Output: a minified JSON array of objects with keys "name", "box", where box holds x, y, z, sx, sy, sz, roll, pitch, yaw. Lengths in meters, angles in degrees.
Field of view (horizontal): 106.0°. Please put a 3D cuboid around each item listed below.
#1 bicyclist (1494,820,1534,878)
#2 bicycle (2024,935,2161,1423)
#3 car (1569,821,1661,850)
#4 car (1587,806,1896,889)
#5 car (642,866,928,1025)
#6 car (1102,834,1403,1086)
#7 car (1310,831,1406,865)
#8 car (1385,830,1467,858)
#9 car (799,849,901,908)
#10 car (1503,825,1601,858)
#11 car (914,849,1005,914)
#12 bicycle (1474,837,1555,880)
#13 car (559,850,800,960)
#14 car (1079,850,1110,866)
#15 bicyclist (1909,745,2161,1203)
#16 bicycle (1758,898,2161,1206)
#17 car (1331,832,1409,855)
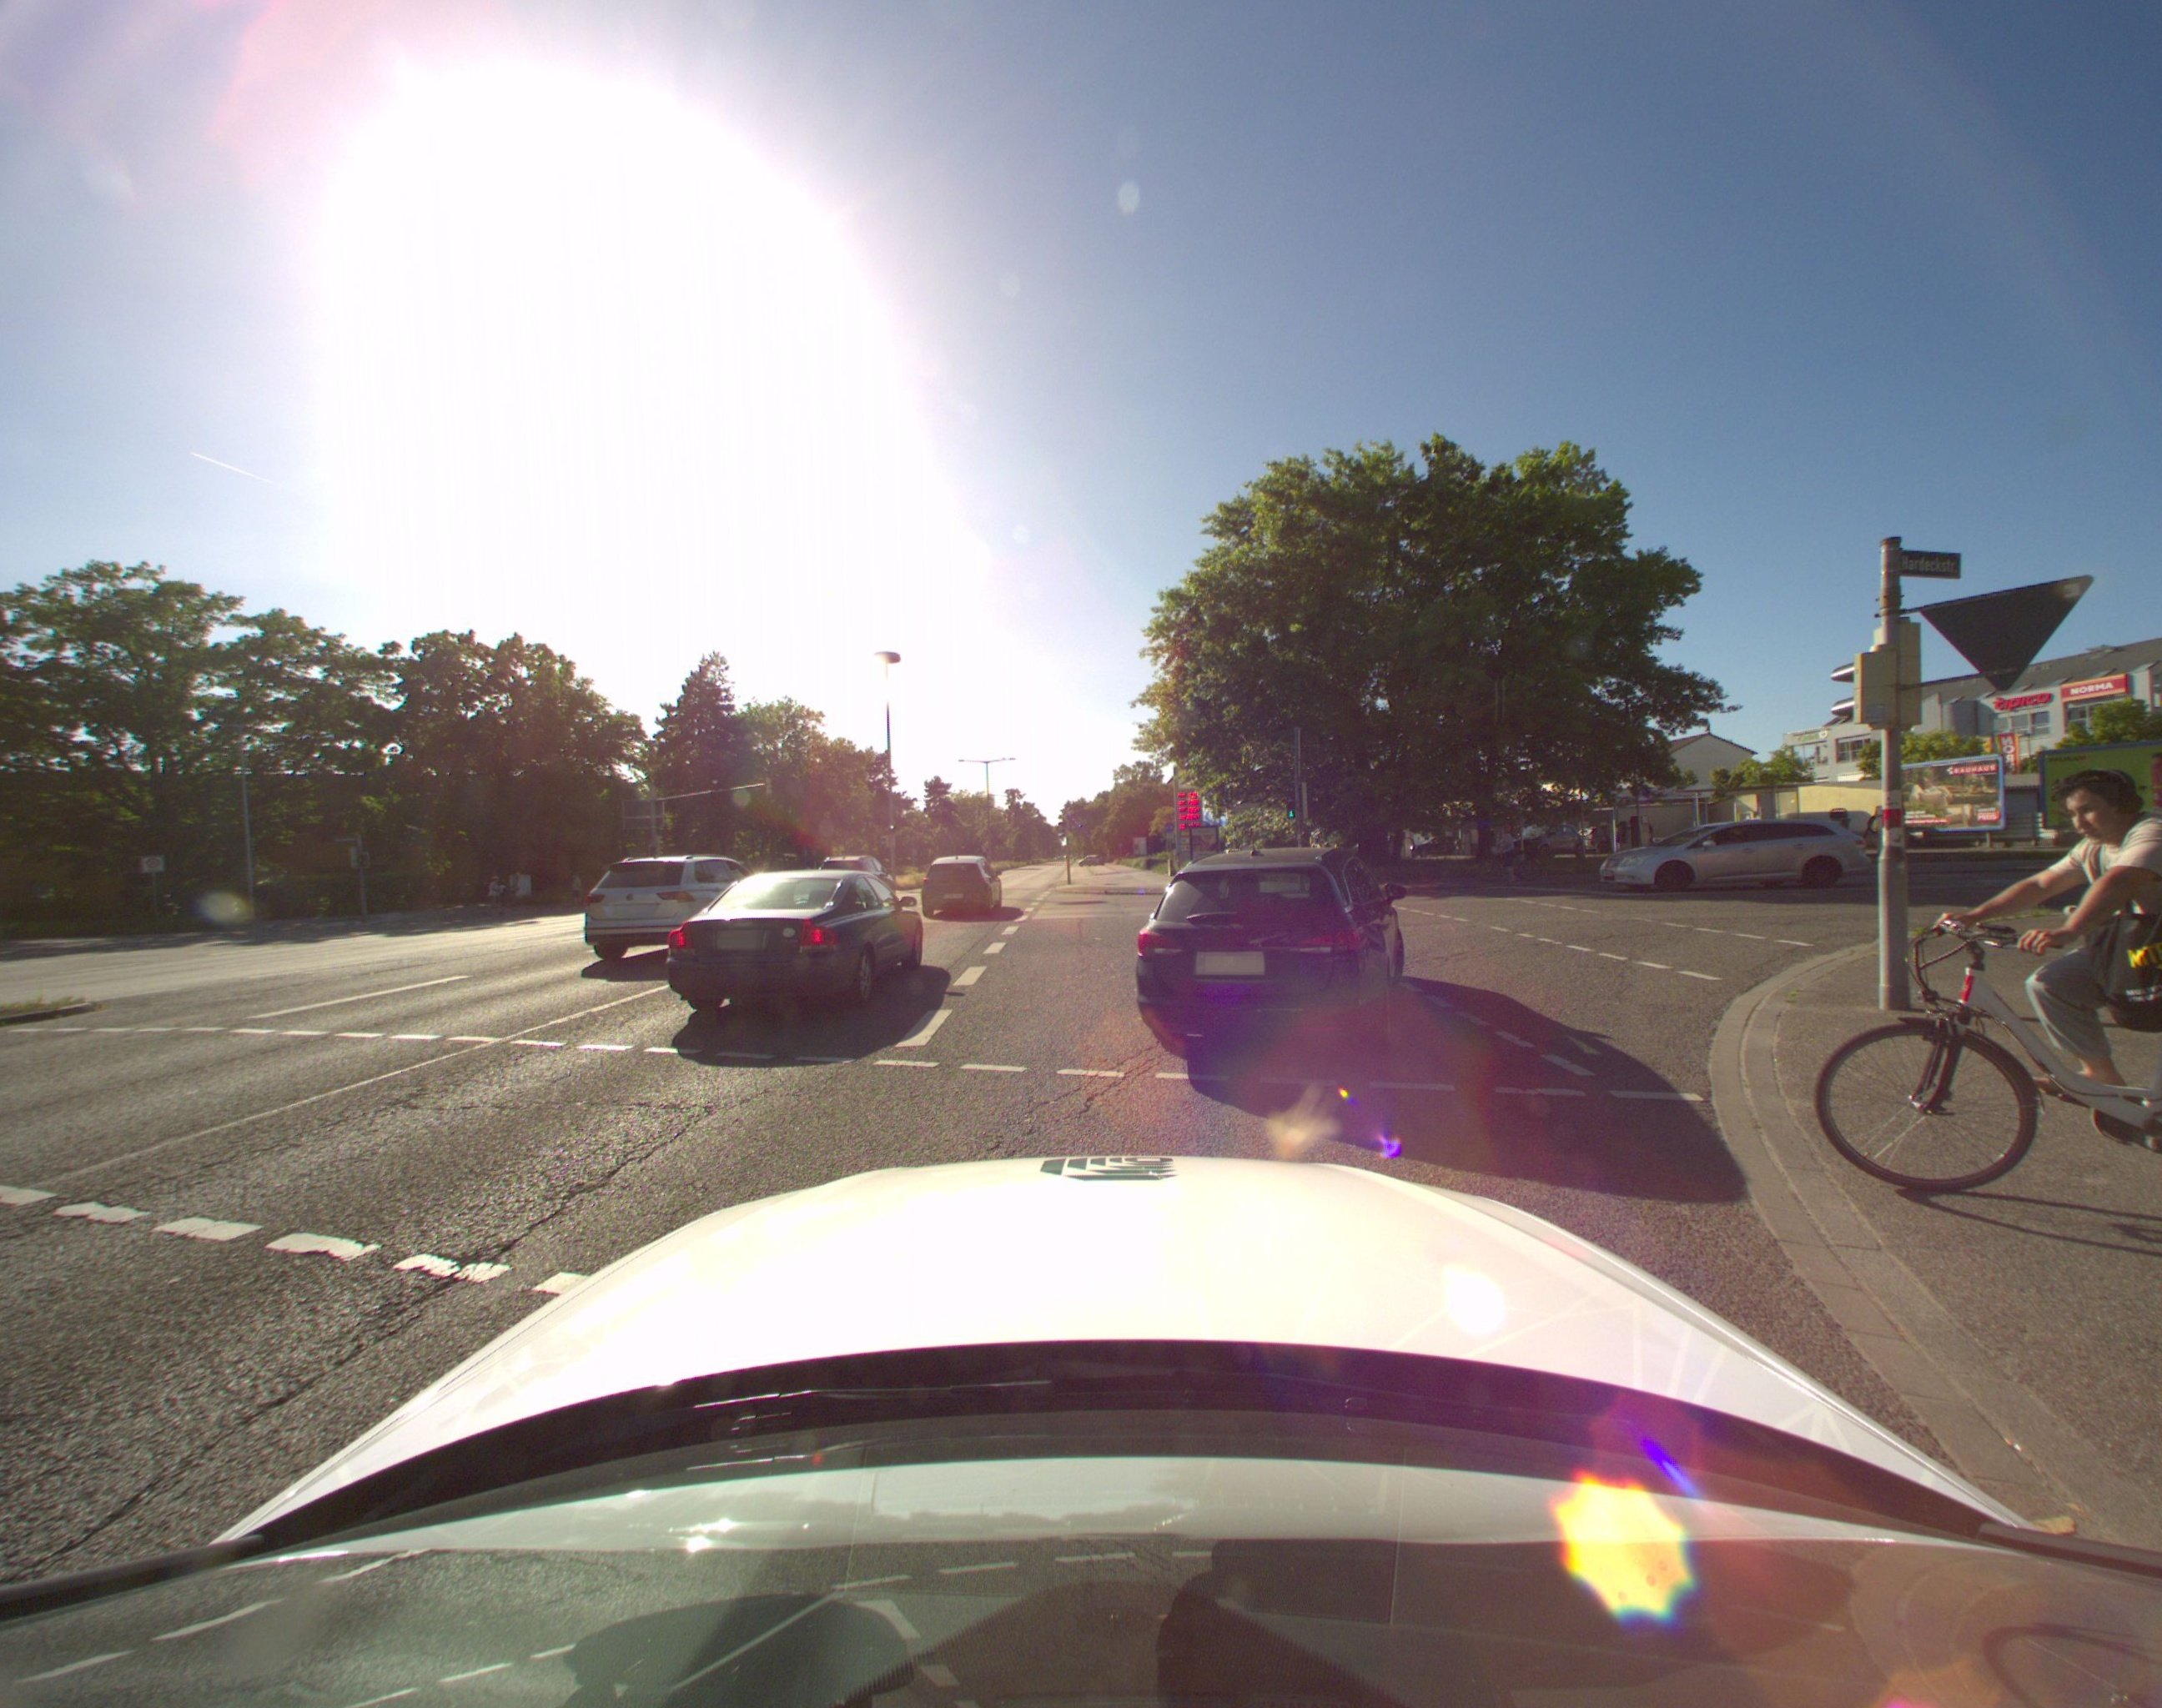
[{"name":"bicyclist","box":[12.664,-0.131,23.820,0.823,1.641,0.543,-3,0,5]},{"name":"bicycle","box":[3.316,0.694,1.543,1.846,1.076,0.534,-7,-5,39]},{"name":"car","box":[30.407,-1.032,46.417,3.976,1.607,1.999,0,-1,-2]},{"name":"car","box":[13.999,-0.102,17.577,4.841,1.489,1.848,-3,-1,11]},{"name":"car","box":[-3.105,0.864,9.601,1.831,1.395,4.362,0,0,-1]},{"name":"car","box":[1.822,0.611,7.201,1.746,1.491,4.315,-2,1,23]},{"name":"car","box":[18.042,-0.372,53.163,5.619,2.099,1.999,0,-1,-2]},{"name":"car","box":[19.023,-0.524,44.953,3.987,1.512,1.526,0,-1,-11]},{"name":"car","box":[-6.983,0.702,25.076,1.904,1.653,4.363,0,0,0]},{"name":"car","box":[20.829,-0.520,36.040,4.005,1.376,1.746,0,-1,-24]},{"name":"car","box":[-3.225,0.705,22.507,1.831,1.588,4.363,-1,0,0]},{"name":"bicycle","box":[12.657,0.138,23.814,2.009,1.141,0.530,-3,0,5]},{"name":"car","box":[-6.840,0.791,14.517,1.935,1.653,4.368,0,0,3]},{"name":"car","box":[1.815,0.541,109.830,2.010,2.014,3.952,0,-1,-41]},{"name":"bicyclist","box":[3.985,0.436,3.184,0.797,1.635,0.546,-6,-4,31]},{"name":"bicycle","box":[3.951,0.733,3.199,1.846,1.077,0.534,-5,-4,29]},{"name":"car","box":[16.960,-0.616,47.907,3.989,1.335,1.792,0,-1,-12]}]
